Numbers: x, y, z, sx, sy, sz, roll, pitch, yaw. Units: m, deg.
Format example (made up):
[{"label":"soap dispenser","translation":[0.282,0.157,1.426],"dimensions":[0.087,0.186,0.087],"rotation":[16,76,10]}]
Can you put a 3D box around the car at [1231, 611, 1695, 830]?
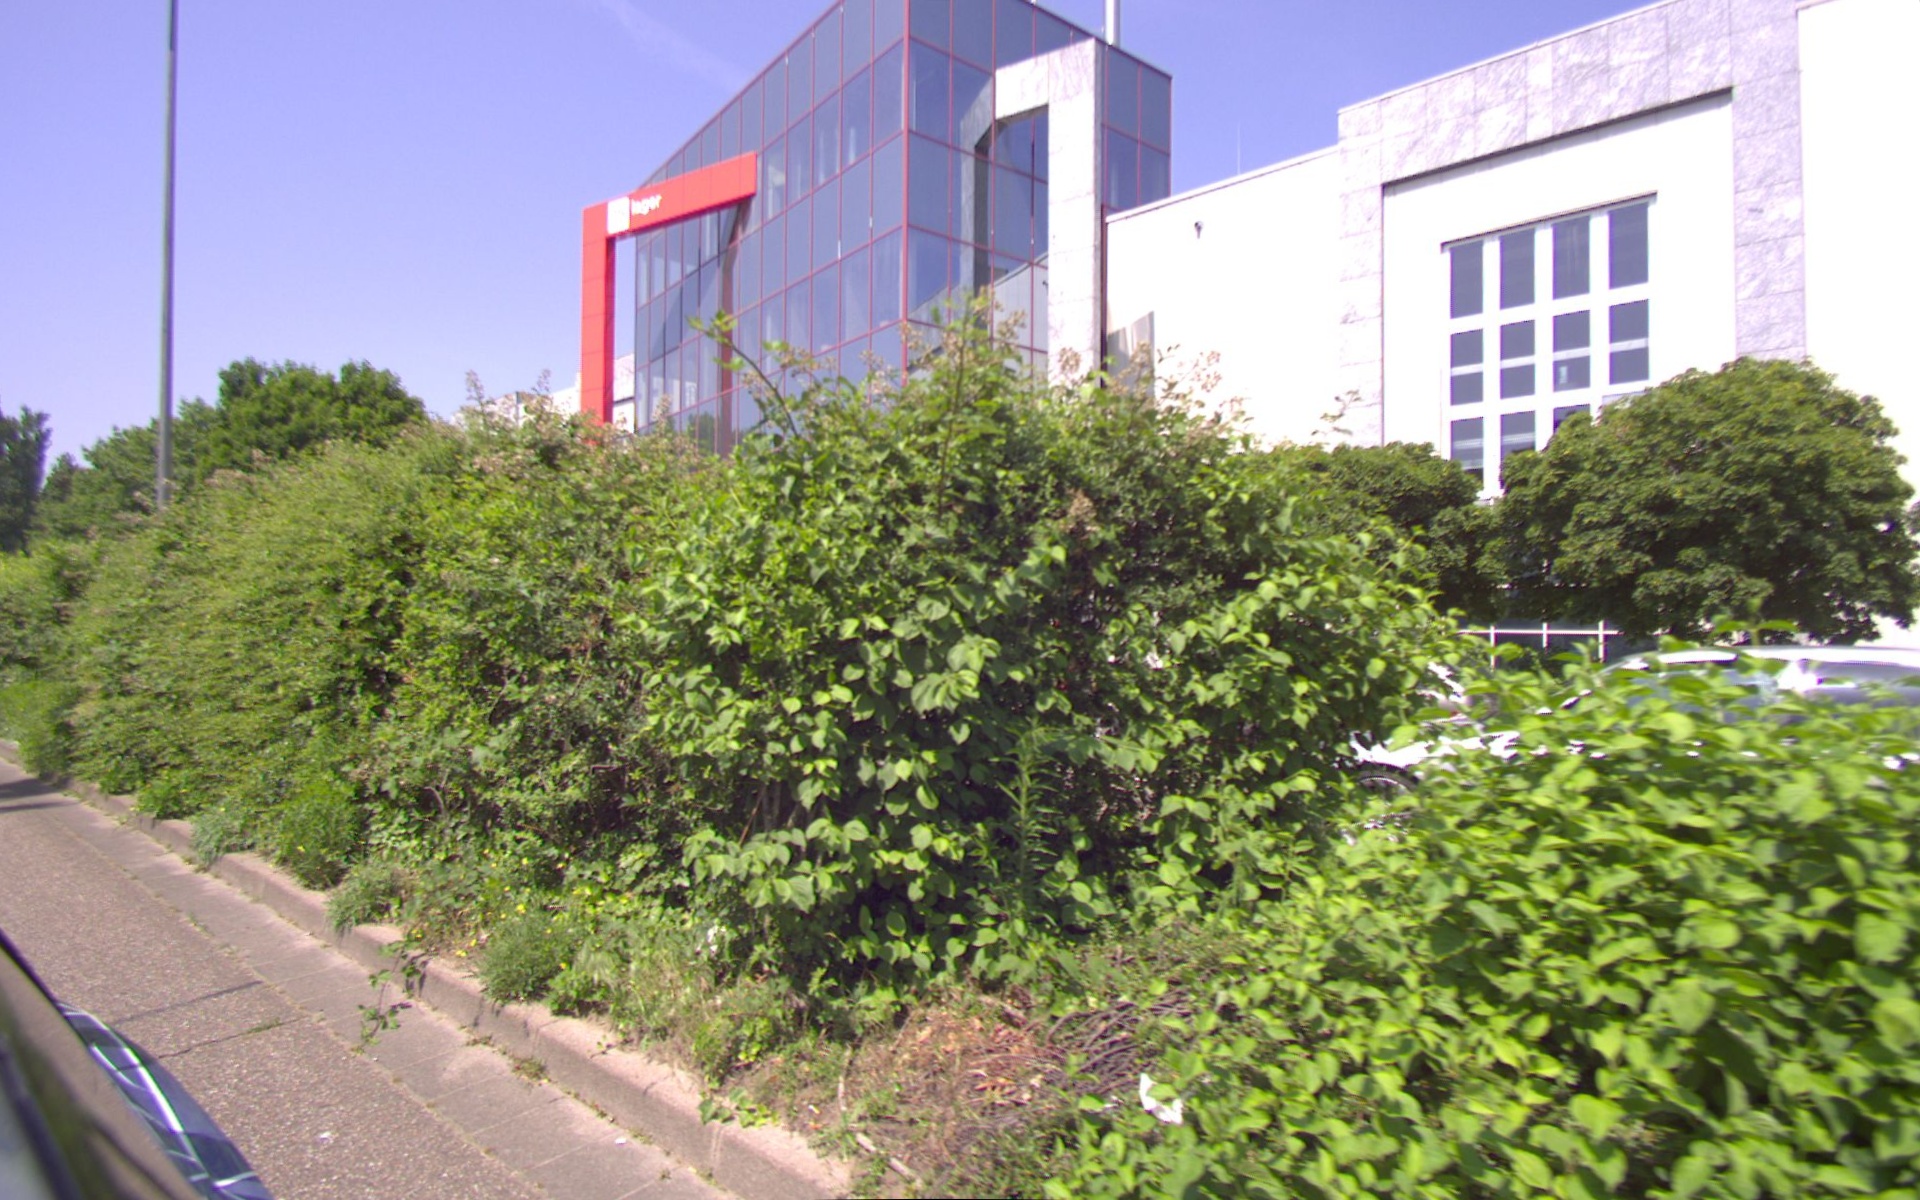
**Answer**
[{"label":"car","translation":[4.623,0.939,9.562],"dimensions":[3.629,1.664,1.671],"rotation":[-1,-1,41]}]

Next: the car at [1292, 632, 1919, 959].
[{"label":"car","translation":[4.005,0.901,5.499],"dimensions":[3.879,1.386,1.611],"rotation":[-1,-4,39]}]
